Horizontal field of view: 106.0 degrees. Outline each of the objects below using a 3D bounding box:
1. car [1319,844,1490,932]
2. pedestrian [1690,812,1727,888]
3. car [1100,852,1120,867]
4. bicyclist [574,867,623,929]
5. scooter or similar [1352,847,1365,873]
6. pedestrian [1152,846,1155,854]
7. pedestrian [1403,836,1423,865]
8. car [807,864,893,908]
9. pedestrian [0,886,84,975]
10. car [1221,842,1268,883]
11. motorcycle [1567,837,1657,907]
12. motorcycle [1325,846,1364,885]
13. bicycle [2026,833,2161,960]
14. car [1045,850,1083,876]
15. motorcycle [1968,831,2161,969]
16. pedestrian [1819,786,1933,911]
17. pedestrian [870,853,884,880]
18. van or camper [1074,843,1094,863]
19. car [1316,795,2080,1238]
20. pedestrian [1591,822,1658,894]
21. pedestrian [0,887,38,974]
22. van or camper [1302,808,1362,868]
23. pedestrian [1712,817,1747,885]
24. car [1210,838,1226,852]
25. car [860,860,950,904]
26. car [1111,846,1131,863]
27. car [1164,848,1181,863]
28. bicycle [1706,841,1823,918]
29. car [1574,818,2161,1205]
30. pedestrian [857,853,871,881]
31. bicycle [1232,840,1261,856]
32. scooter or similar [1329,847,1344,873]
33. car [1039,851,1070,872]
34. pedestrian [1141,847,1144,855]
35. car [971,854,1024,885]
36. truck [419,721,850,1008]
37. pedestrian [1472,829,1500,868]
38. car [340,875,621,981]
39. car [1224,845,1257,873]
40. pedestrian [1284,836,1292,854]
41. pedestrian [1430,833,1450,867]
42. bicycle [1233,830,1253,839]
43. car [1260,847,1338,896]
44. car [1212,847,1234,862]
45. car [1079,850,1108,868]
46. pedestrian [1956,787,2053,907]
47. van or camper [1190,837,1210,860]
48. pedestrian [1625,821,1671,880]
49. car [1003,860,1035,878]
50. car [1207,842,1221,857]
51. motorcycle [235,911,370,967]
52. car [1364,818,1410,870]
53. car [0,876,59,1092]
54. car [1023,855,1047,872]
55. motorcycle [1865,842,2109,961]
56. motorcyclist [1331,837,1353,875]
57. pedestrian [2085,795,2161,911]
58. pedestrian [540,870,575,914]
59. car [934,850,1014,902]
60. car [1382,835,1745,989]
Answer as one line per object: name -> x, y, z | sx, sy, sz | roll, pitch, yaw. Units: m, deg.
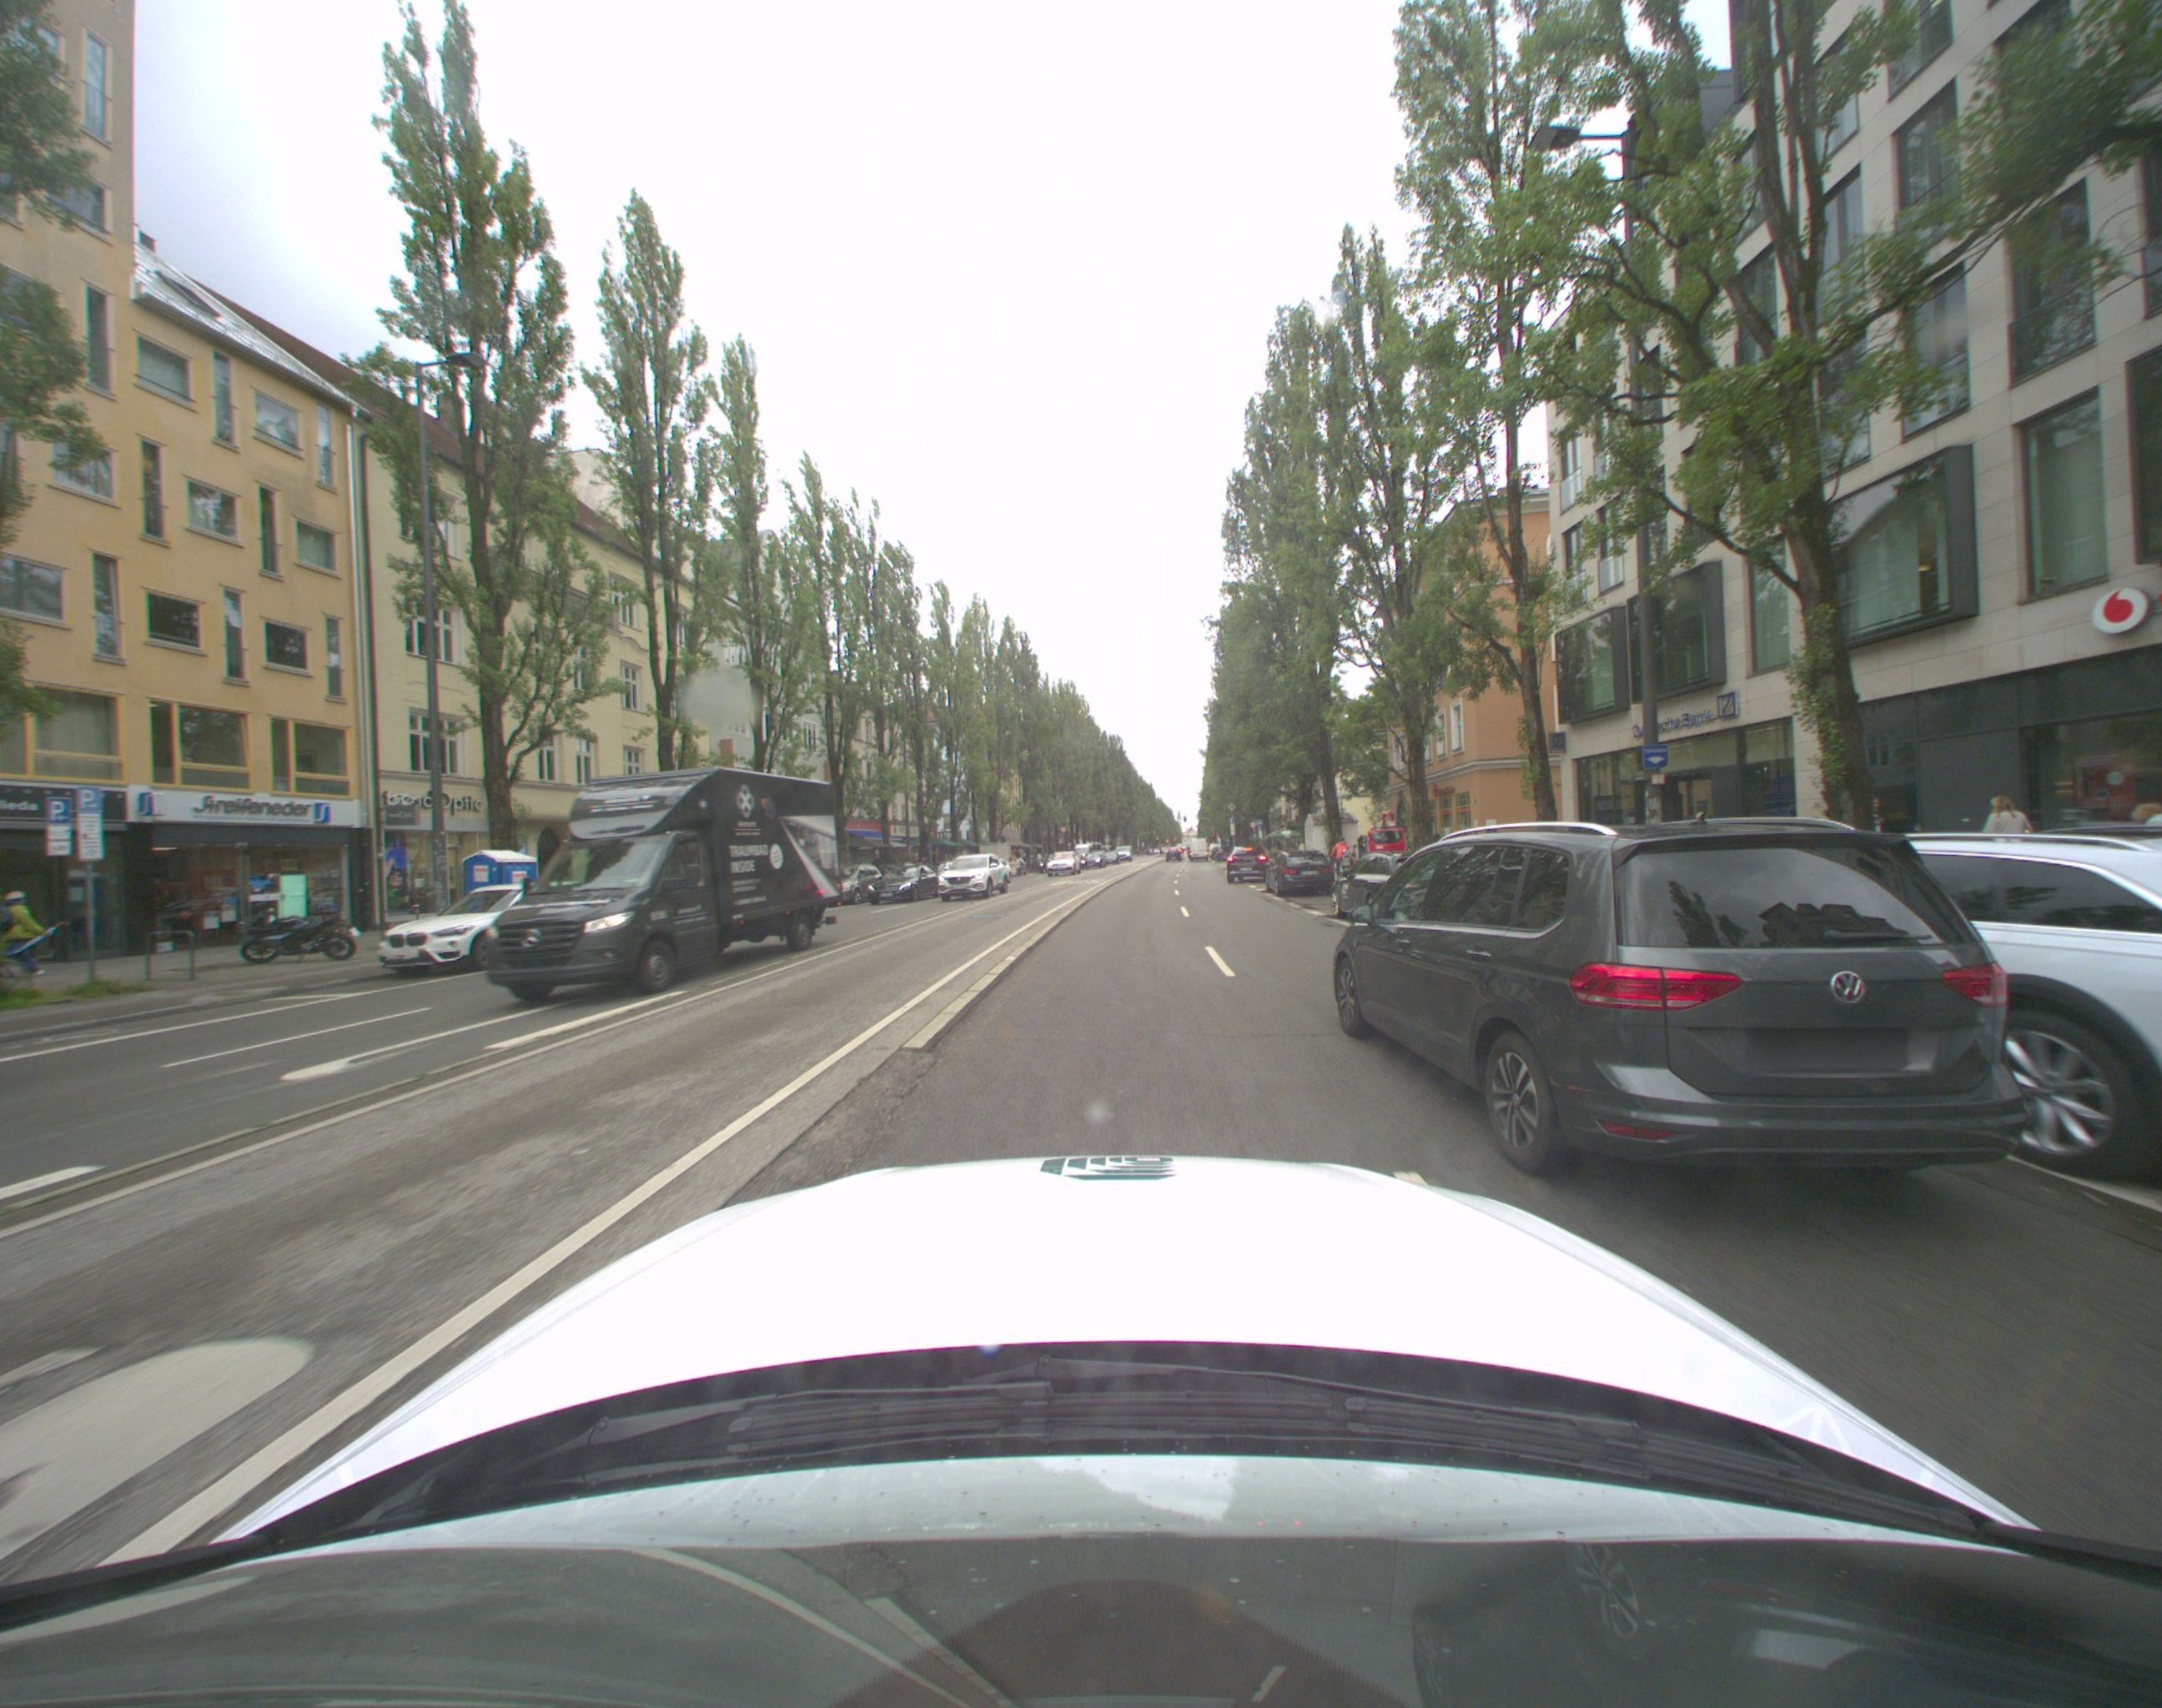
car -> 6.135, 0.568, 16.046 | 1.839, 1.428, 4.431 | -2, 0, 4
pedestrian -> 13.799, -0.088, 17.921 | 0.544, 1.638, 0.562 | -2, 0, 32
car -> 3.079, 0.572, 84.509 | 1.702, 1.414, 3.730 | -3, 0, 7
bicyclist -> -12.938, 1.162, 21.859 | 0.493, 1.580, 1.109 | -3, 0, 6
scooter or similar -> 13.767, 0.301, 40.353 | 0.482, 1.232, 1.174 | -5, 0, 20
pedestrian -> 15.649, -0.789, 176.809 | 0.550, 1.716, 0.494 | -3, 0, 8
pedestrian -> 18.857, -0.210, 46.243 | 0.815, 1.613, 0.781 | -3, 0, 10
car -> -9.308, 1.248, 33.109 | 1.794, 1.519, 4.009 | -3, 0, 8
pedestrian -> -19.995, 1.448, 15.611 | 0.835, 1.625, 0.764 | -1, -1, 5
car -> 7.502, 0.347, 37.036 | 1.867, 1.641, 4.600 | -3, 0, 13
motorcycle -> 10.728, 0.344, 16.440 | 1.980, 1.251, 0.633 | -3, 0, -29
motorcycle -> 9.889, 0.403, 30.674 | 0.822, 1.370, 2.255 | -3, 0, 4
bicycle -> 9.462, 0.355, 6.921 | 0.642, 1.063, 1.765 | -3, 0, -10
car -> -1.140, 0.583, 56.159 | 1.929, 1.642, 4.472 | -3, 0, 7
motorcycle -> 10.896, 0.460, 8.772 | 0.688, 1.356, 1.632 | -3, 0, -20
pedestrian -> 12.639, -0.087, 12.985 | 0.814, 1.869, 0.939 | -3, 0, 4
pedestrian -> -14.280, 0.885, 57.061 | 0.635, 1.862, 0.649 | -3, 0, 7
van or camper -> 0.379, -0.110, 103.491 | 1.983, 2.458, 4.260 | -2, 0, 7
car -> 2.888, 0.604, 5.125 | 1.754, 1.613, 4.186 | -2, 0, 3
pedestrian -> 12.405, 0.084, 18.618 | 0.831, 1.576, 0.938 | -3, 0, 0
pedestrian -> -20.909, 1.465, 15.622 | 0.835, 1.625, 0.764 | -1, -1, 5
van or camper -> 14.133, -0.897, 46.157 | 2.446, 3.112, 4.727 | -3, 0, 8
pedestrian -> 14.440, -0.062, 18.152 | 0.497, 1.491, 0.551 | -2, 0, 32
car -> 16.424, -1.090, 97.810 | 1.795, 1.596, 4.008 | -1, -1, 7
car -> -6.888, 1.056, 32.357 | 1.928, 1.434, 4.549 | -3, 0, 8
car -> 5.044, 0.044, 101.967 | 1.983, 1.934, 4.928 | -4, -1, 7
car -> 10.171, 0.155, 90.182 | 1.749, 1.619, 3.755 | -1, -1, 8
bicycle -> 11.362, 0.401, 13.608 | 0.453, 1.188, 1.715 | -3, 0, 0
car -> 5.297, 0.594, 4.997 | 1.802, 1.500, 4.810 | -3, 0, 3
pedestrian -> -15.227, 0.908, 57.121 | 0.635, 1.862, 0.649 | -3, 0, 7
bicycle -> 21.881, -0.726, 107.625 | 3.522, 2.014, 1.302 | -1, -1, 16
scooter or similar -> 12.809, 0.296, 40.798 | 0.520, 1.232, 1.484 | -5, 0, 20
car -> -2.186, 0.594, 67.501 | 1.838, 1.564, 4.221 | -3, -1, 7
pedestrian -> 13.489, -0.652, 177.454 | 0.550, 1.716, 0.494 | -3, 0, 8
car -> -4.556, 0.838, 45.108 | 1.929, 1.493, 4.465 | -3, 0, 7
truck -> -6.408, 0.110, 13.349 | 2.279, 3.322, 7.170 | -4, 0, 6
pedestrian -> 16.326, -0.215, 32.809 | 0.607, 1.550, 0.710 | -4, 0, -21
car -> -11.886, 1.380, 16.599 | 1.982, 1.629, 4.393 | -3, 0, 9
car -> 9.635, 0.263, 49.459 | 1.615, 1.565, 4.380 | -3, 0, 7
pedestrian -> 19.301, -0.859, 75.969 | 0.643, 1.646, 0.769 | -1, -1, 16
pedestrian -> 17.691, -0.180, 40.153 | 0.724, 1.626, 0.808 | -3, 0, 17
bicycle -> 19.428, -2.324, 97.629 | 0.763, 1.023, 2.709 | -3, 0, -27
car -> 7.099, 0.527, 26.955 | 1.725, 1.394, 4.440 | -3, 0, 6
car -> 14.464, 0.025, 83.037 | 1.934, 1.467, 4.008 | -3, 0, 6
car -> 1.137, 0.411, 72.686 | 1.983, 1.432, 4.782 | -4, 0, 7
pedestrian -> 14.114, -0.102, 12.474 | 0.786, 1.772, 0.686 | -3, 0, 35
van or camper -> 13.360, -0.600, 91.735 | 2.023, 2.475, 4.008 | -2, -1, 7
pedestrian -> 16.101, -0.099, 23.131 | 0.731, 1.621, 0.840 | -3, 0, 10
car -> -4.896, 1.147, 65.025 | 1.800, 1.250, 3.708 | -2, 0, 7
car -> 18.732, -0.621, 115.051 | 1.795, 1.992, 4.008 | -1, -1, 7
motorcycle -> -16.268, 1.770, 17.059 | 2.058, 1.036, 0.484 | -1, -1, -14
car -> 15.032, -0.504, 40.215 | 1.885, 2.328, 4.849 | -3, 0, 19
car -> -10.721, 1.238, 4.698 | 1.983, 1.863, 5.722 | -4, 0, 7
car -> -3.974, 0.786, 70.711 | 1.504, 1.344, 3.243 | -3, 0, 7
motorcycle -> 9.920, 0.480, 9.004 | 0.688, 1.156, 1.632 | -3, 0, -20
motorcyclist -> 9.847, 0.068, 30.768 | 0.561, 1.406, 0.767 | -3, 0, 4
pedestrian -> 15.452, -0.030, 11.818 | 0.789, 1.621, 0.720 | -3, 0, 10
pedestrian -> -19.139, 1.379, 29.773 | 0.630, 1.561, 0.818 | -3, 0, 9
car -> -4.023, 0.793, 31.311 | 1.850, 1.711, 4.545 | -4, 0, 7
car -> 5.696, 0.570, 10.525 | 1.923, 1.450, 4.806 | -3, 0, 2
